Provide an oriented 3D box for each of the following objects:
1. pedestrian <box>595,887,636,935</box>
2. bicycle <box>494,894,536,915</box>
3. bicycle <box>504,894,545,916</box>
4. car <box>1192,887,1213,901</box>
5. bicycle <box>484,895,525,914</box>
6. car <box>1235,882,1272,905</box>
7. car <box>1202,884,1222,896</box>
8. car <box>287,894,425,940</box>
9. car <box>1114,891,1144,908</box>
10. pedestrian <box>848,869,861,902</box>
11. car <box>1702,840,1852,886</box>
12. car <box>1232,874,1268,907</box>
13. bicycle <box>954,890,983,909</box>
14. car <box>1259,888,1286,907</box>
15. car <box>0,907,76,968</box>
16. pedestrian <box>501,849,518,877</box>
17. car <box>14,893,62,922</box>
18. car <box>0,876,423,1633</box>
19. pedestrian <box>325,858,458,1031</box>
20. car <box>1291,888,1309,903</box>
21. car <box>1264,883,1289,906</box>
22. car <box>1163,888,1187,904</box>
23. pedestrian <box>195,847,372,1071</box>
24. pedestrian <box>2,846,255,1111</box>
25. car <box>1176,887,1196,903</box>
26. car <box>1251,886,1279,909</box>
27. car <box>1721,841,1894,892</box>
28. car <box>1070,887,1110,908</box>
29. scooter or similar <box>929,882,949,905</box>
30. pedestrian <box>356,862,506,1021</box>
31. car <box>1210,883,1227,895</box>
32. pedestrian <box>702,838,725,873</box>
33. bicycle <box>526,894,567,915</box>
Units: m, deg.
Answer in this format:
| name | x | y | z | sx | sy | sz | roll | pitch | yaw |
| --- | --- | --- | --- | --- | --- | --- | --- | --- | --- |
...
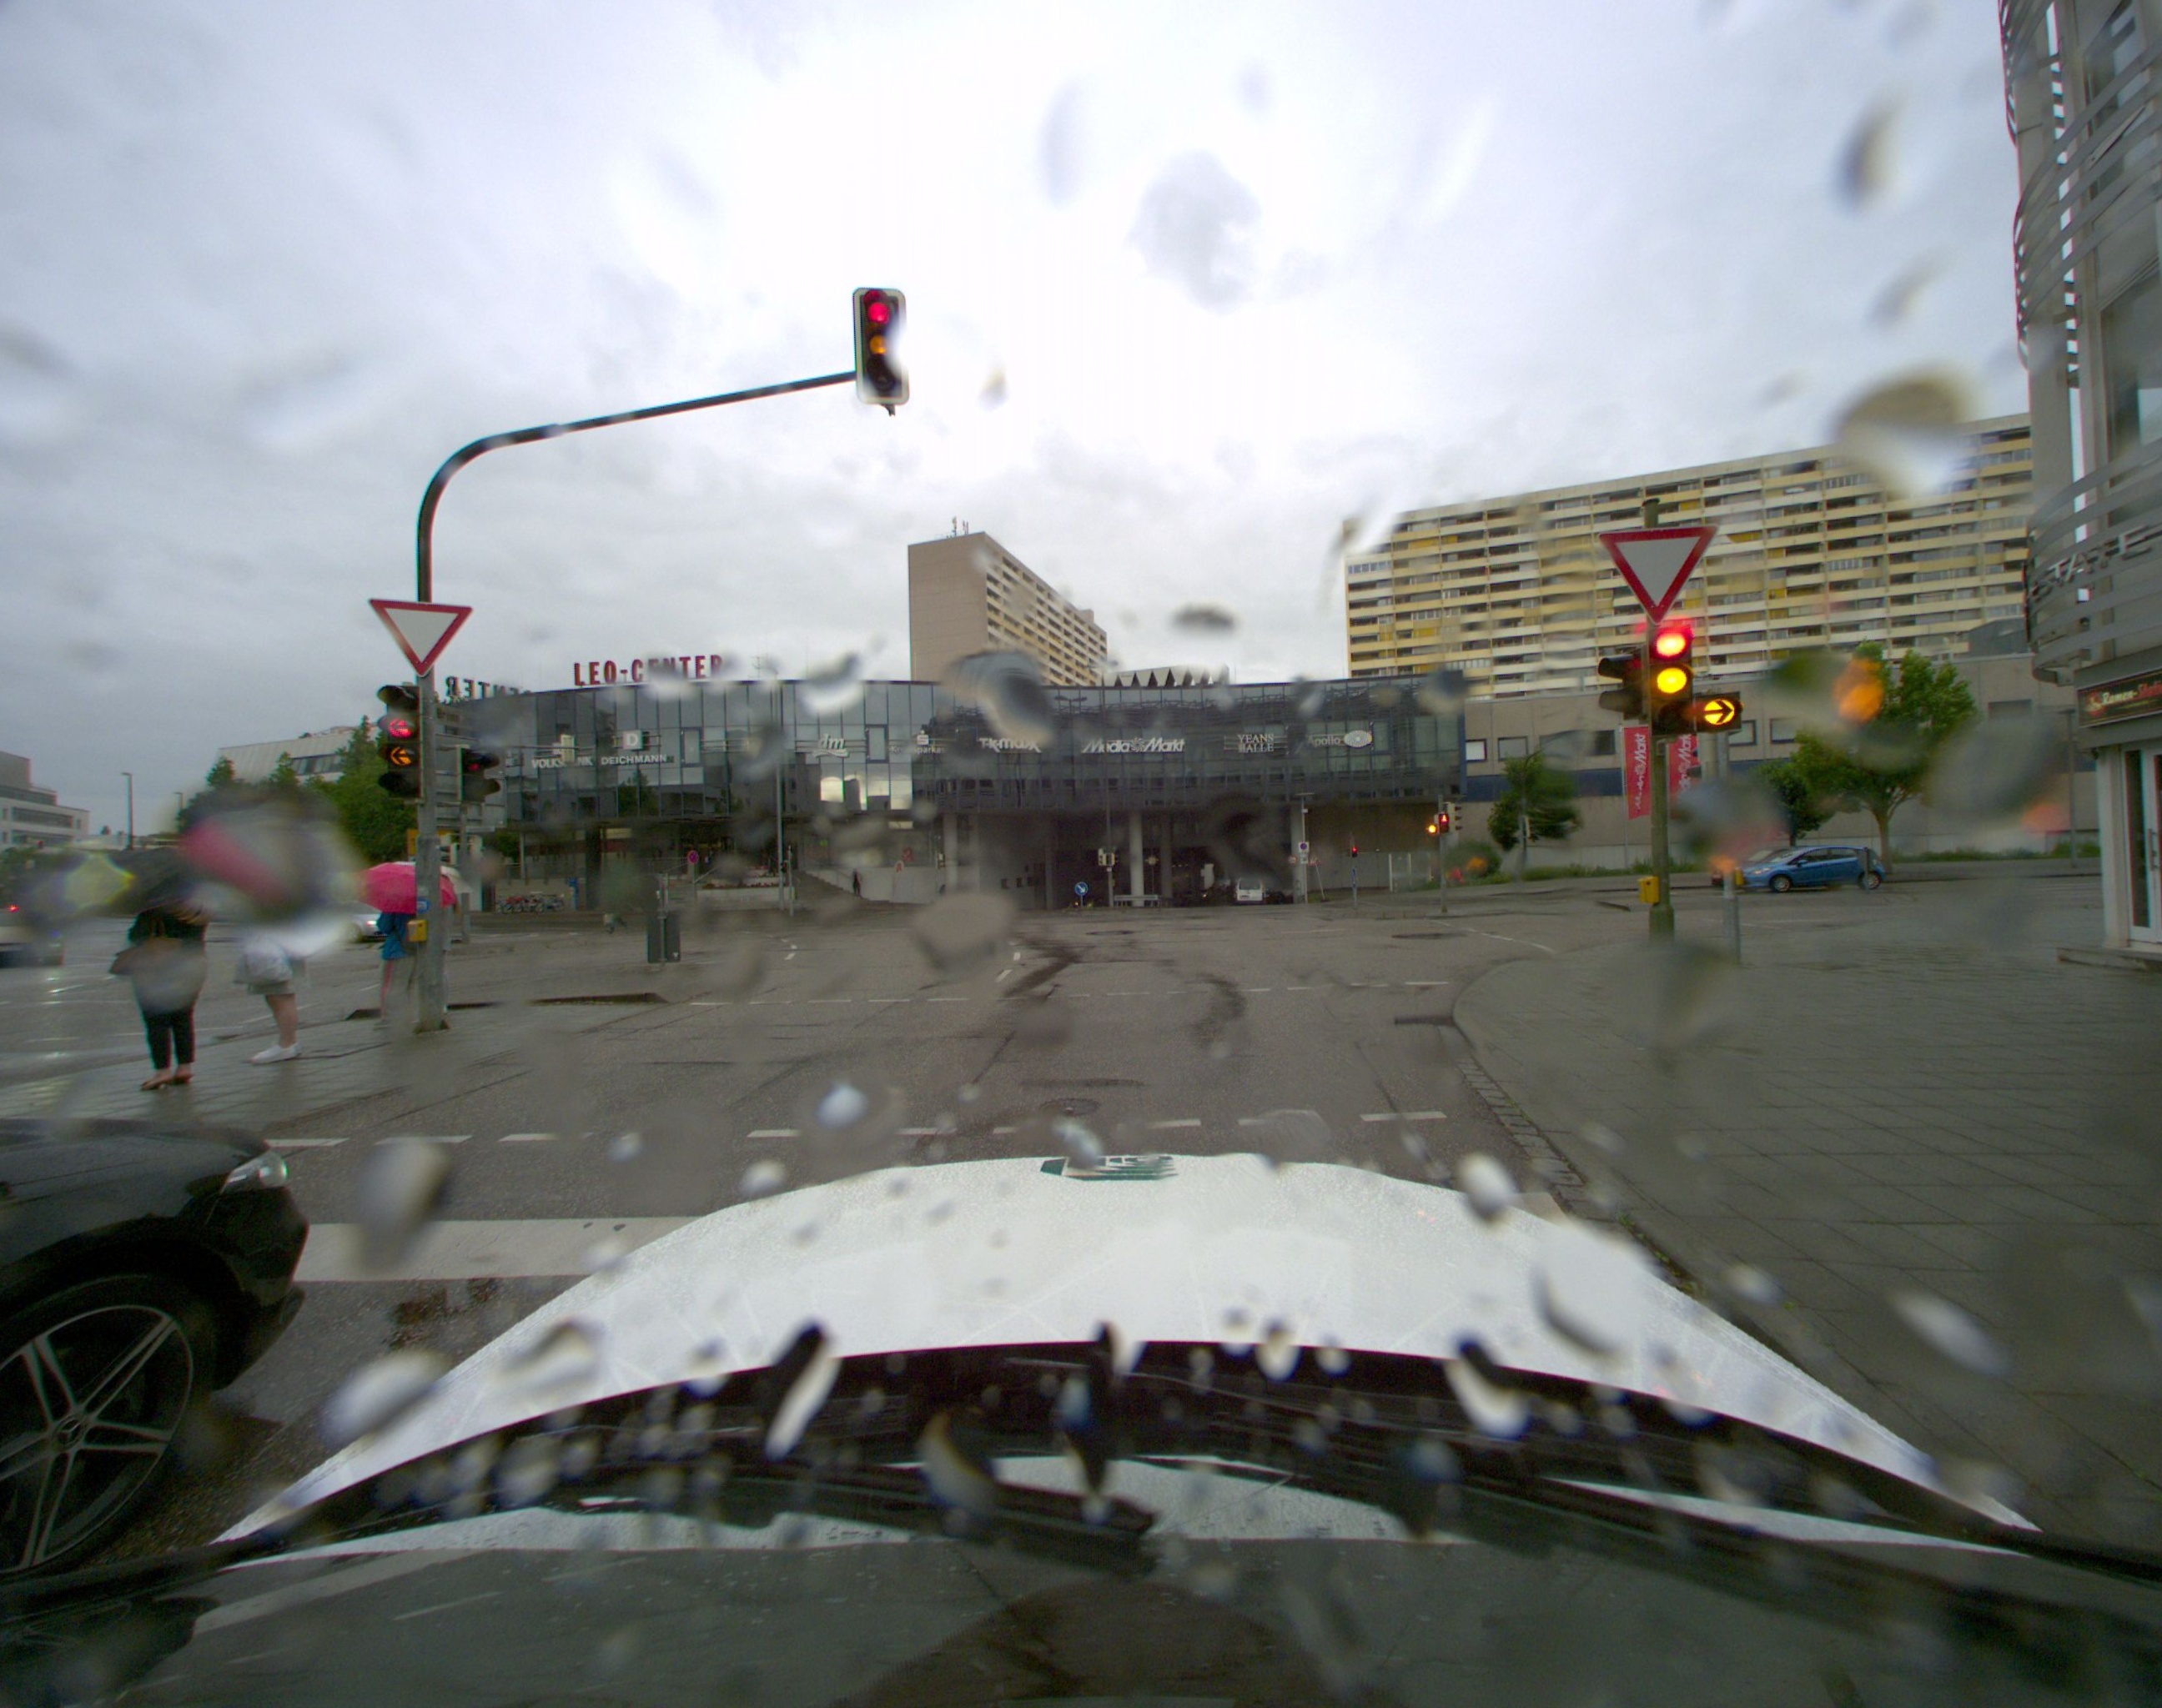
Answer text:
| name | x | y | z | sx | sy | sz | roll | pitch | yaw |
| --- | --- | --- | --- | --- | --- | --- | --- | --- | --- |
| pedestrian | -16.407 | 1.988 | 28.706 | 0.940 | 1.623 | 0.814 | -3 | -1 | 25 |
| bicycle | -32.384 | 2.891 | 46.620 | 0.621 | 1.033 | 1.865 | -3 | 1 | 20 |
| bicycle | -31.674 | 2.878 | 46.375 | 0.640 | 1.042 | 1.865 | -3 | 1 | 20 |
| car | 15.140 | 4.962 | 101.519 | 1.978 | 1.664 | 4.018 | -1 | -1 | 17 |
| bicycle | -33.071 | 2.890 | 46.757 | 0.529 | 0.951 | 1.865 | -1 | 2 | 23 |
| car | 11.925 | 2.745 | 56.179 | 1.742 | 1.464 | 3.963 | -3 | -5 | 23 |
| car | 17.612 | 4.853 | 109.199 | 1.978 | 1.464 | 4.018 | -3 | -2 | 17 |
| car | -25.419 | 2.201 | 28.578 | 3.949 | 1.441 | 1.754 | -2 | -1 | 16 |
| car | 4.436 | 4.133 | 74.422 | 1.756 | 1.464 | 3.892 | -3 | -4 | 17 |
| pedestrian | -13.190 | 1.809 | 47.455 | 0.655 | 1.908 | 0.593 | -1 | -1 | -6 |
| car | 24.856 | 0.328 | 29.228 | 3.660 | 1.395 | 1.750 | -3 | -2 | 11 |
| car | 10.112 | 2.158 | 48.505 | 1.912 | 1.798 | 4.310 | -2 | -3 | 13 |
| bicycle | -6.755 | 2.714 | 48.821 | 1.591 | 1.018 | 0.448 | 5 | -4 | -29 |
| car | 15.459 | 3.507 | 65.629 | 1.765 | 1.400 | 4.017 | -3 | -4 | 17 |
| car | -28.278 | 2.158 | 21.093 | 5.079 | 1.414 | 2.136 | -3 | -2 | 31 |
| pedestrian | -35.216 | 0.555 | 50.195 | 0.592 | 1.714 | 0.658 | -1 | -1 | 25 |
| car | -75.154 | 3.833 | 58.680 | 4.085 | 1.896 | 2.062 | -1 | -1 | 38 |
| car | -2.998 | 0.826 | 0.609 | 1.657 | 1.481 | 4.094 | 0 | 0 | 0 |
| pedestrian | -7.144 | 0.901 | 8.456 | 0.665 | 1.685 | 0.811 | -3 | -2 | 23 |
| car | 24.287 | 4.572 | 90.413 | 1.874 | 1.491 | 3.856 | -1 | -1 | 16 |
| car | 16.941 | 3.471 | 70.339 | 1.777 | 1.771 | 4.017 | -3 | -2 | 17 |
| car | 10.523 | 4.668 | 91.138 | 1.899 | 1.588 | 3.957 | -3 | -2 | 17 |
| pedestrian | -6.880 | 0.833 | 7.030 | 1.123 | 1.744 | 0.865 | -3 | -1 | 34 |
| pedestrian | -6.948 | 0.840 | 6.019 | 0.956 | 1.736 | 0.829 | -2 | -2 | -28 |
| car | 12.359 | 4.811 | 95.969 | 1.823 | 1.728 | 4.014 | -2 | -1 | 13 |
| car | 13.775 | 3.217 | 60.848 | 1.620 | 1.612 | 4.280 | -3 | -4 | 16 |
| car | 23.396 | 0.418 | 26.379 | 3.819 | 1.397 | 1.684 | -3 | -2 | 10 |
| car | 0.723 | 3.372 | 62.629 | 1.877 | 1.470 | 4.044 | -2 | -5 | 18 |
| scooter or similar | -8.468 | 2.335 | 48.532 | 1.167 | 1.373 | 0.487 | 0 | -1 | -13 |
| pedestrian | -7.347 | 0.951 | 9.254 | 0.932 | 1.677 | 0.917 | -2 | -1 | 1 |
| car | 19.328 | 4.918 | 114.243 | 1.979 | 1.464 | 4.016 | -3 | -2 | 15 |
| pedestrian | -21.292 | 0.102 | 47.200 | 0.825 | 2.014 | 0.955 | 0 | -1 | 10 |
| bicycle | -30.087 | 2.821 | 45.897 | 0.625 | 1.023 | 1.864 | -3 | 1 | 20 |
